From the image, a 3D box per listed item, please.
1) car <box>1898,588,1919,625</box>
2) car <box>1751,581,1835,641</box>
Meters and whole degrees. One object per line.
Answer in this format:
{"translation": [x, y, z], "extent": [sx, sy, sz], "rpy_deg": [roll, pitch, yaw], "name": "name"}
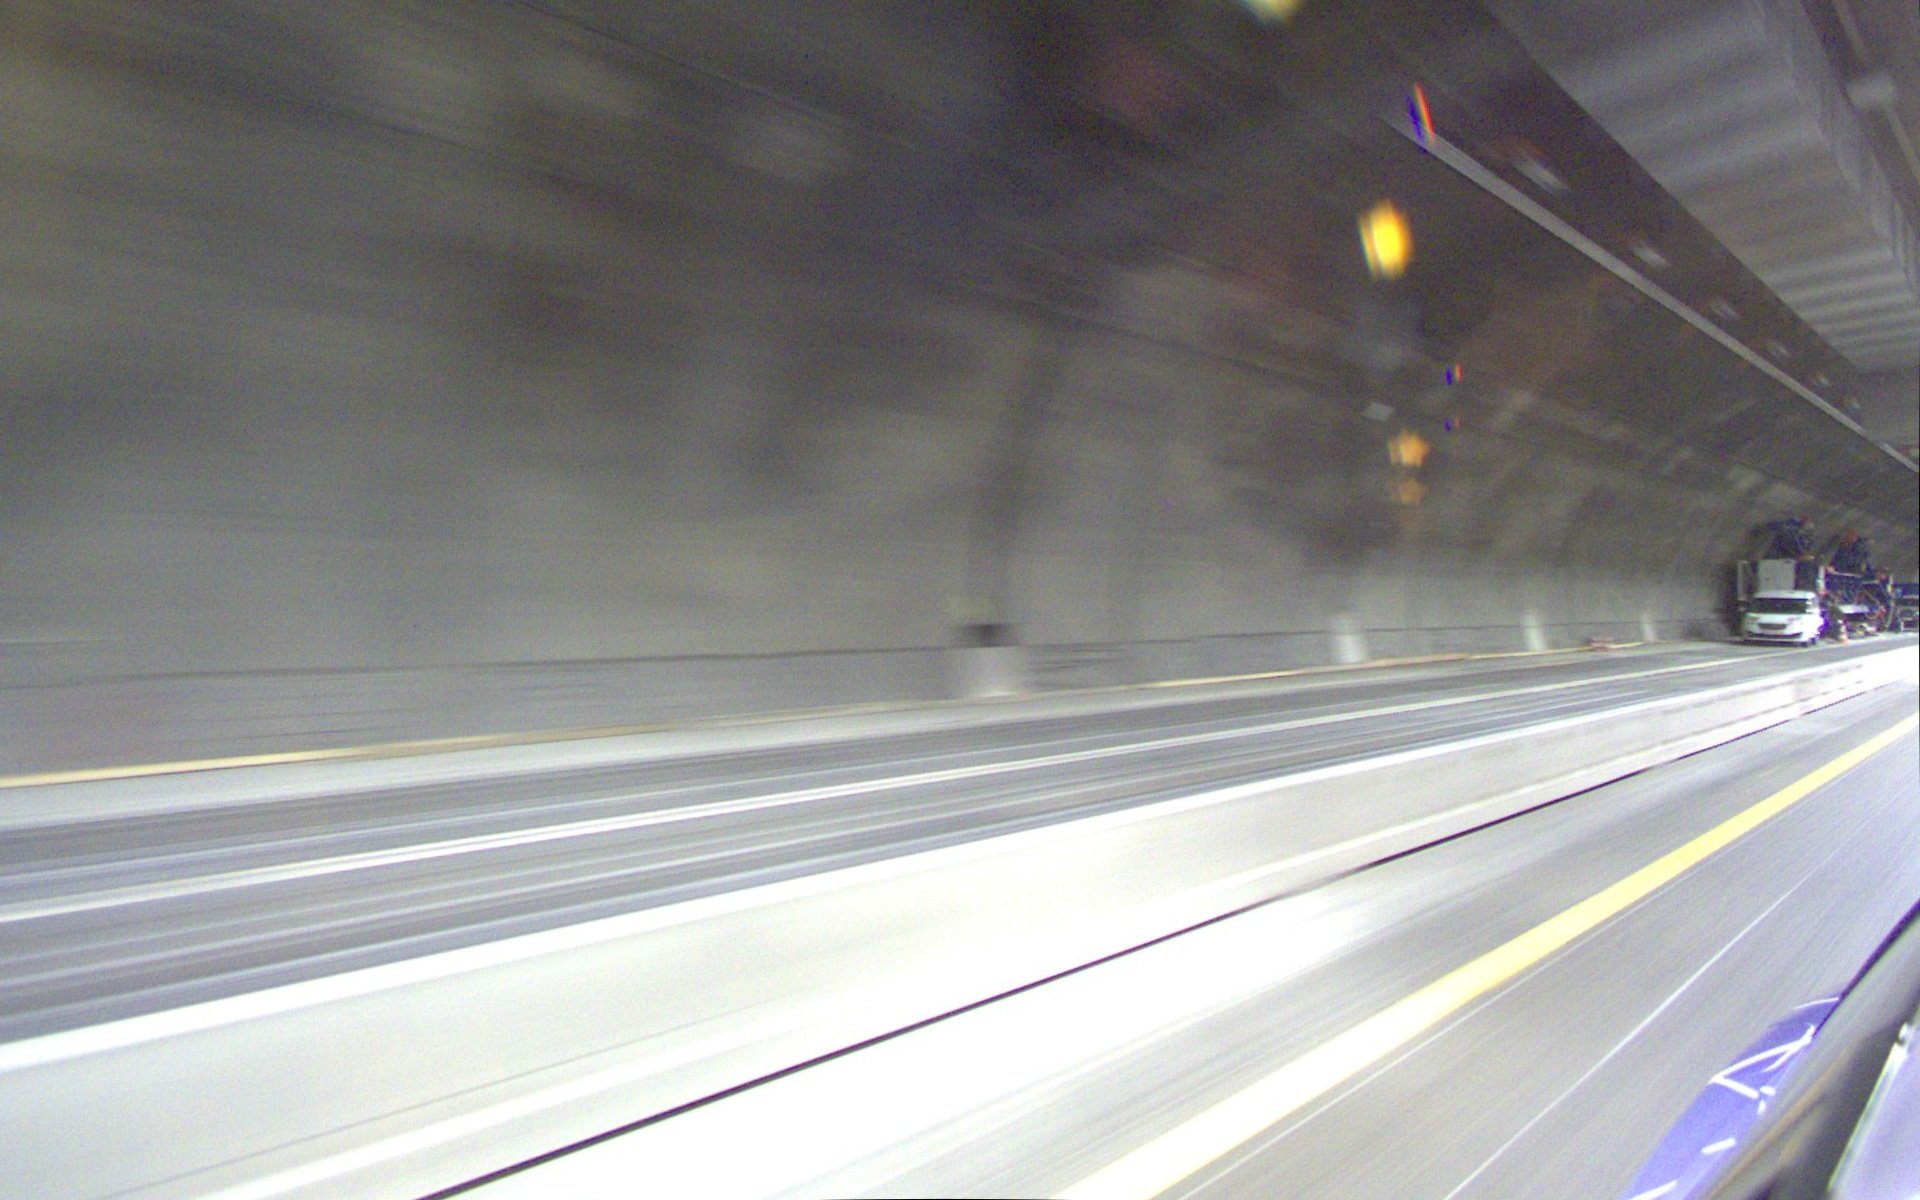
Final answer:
{"translation": [50.666, 0.312, 52.936], "extent": [5.348, 1.882, 1.830], "rpy_deg": [0, -1, -42], "name": "car"}
{"translation": [28.029, 0.323, 34.007], "extent": [4.570, 1.868, 1.752], "rpy_deg": [0, 1, -45], "name": "car"}
